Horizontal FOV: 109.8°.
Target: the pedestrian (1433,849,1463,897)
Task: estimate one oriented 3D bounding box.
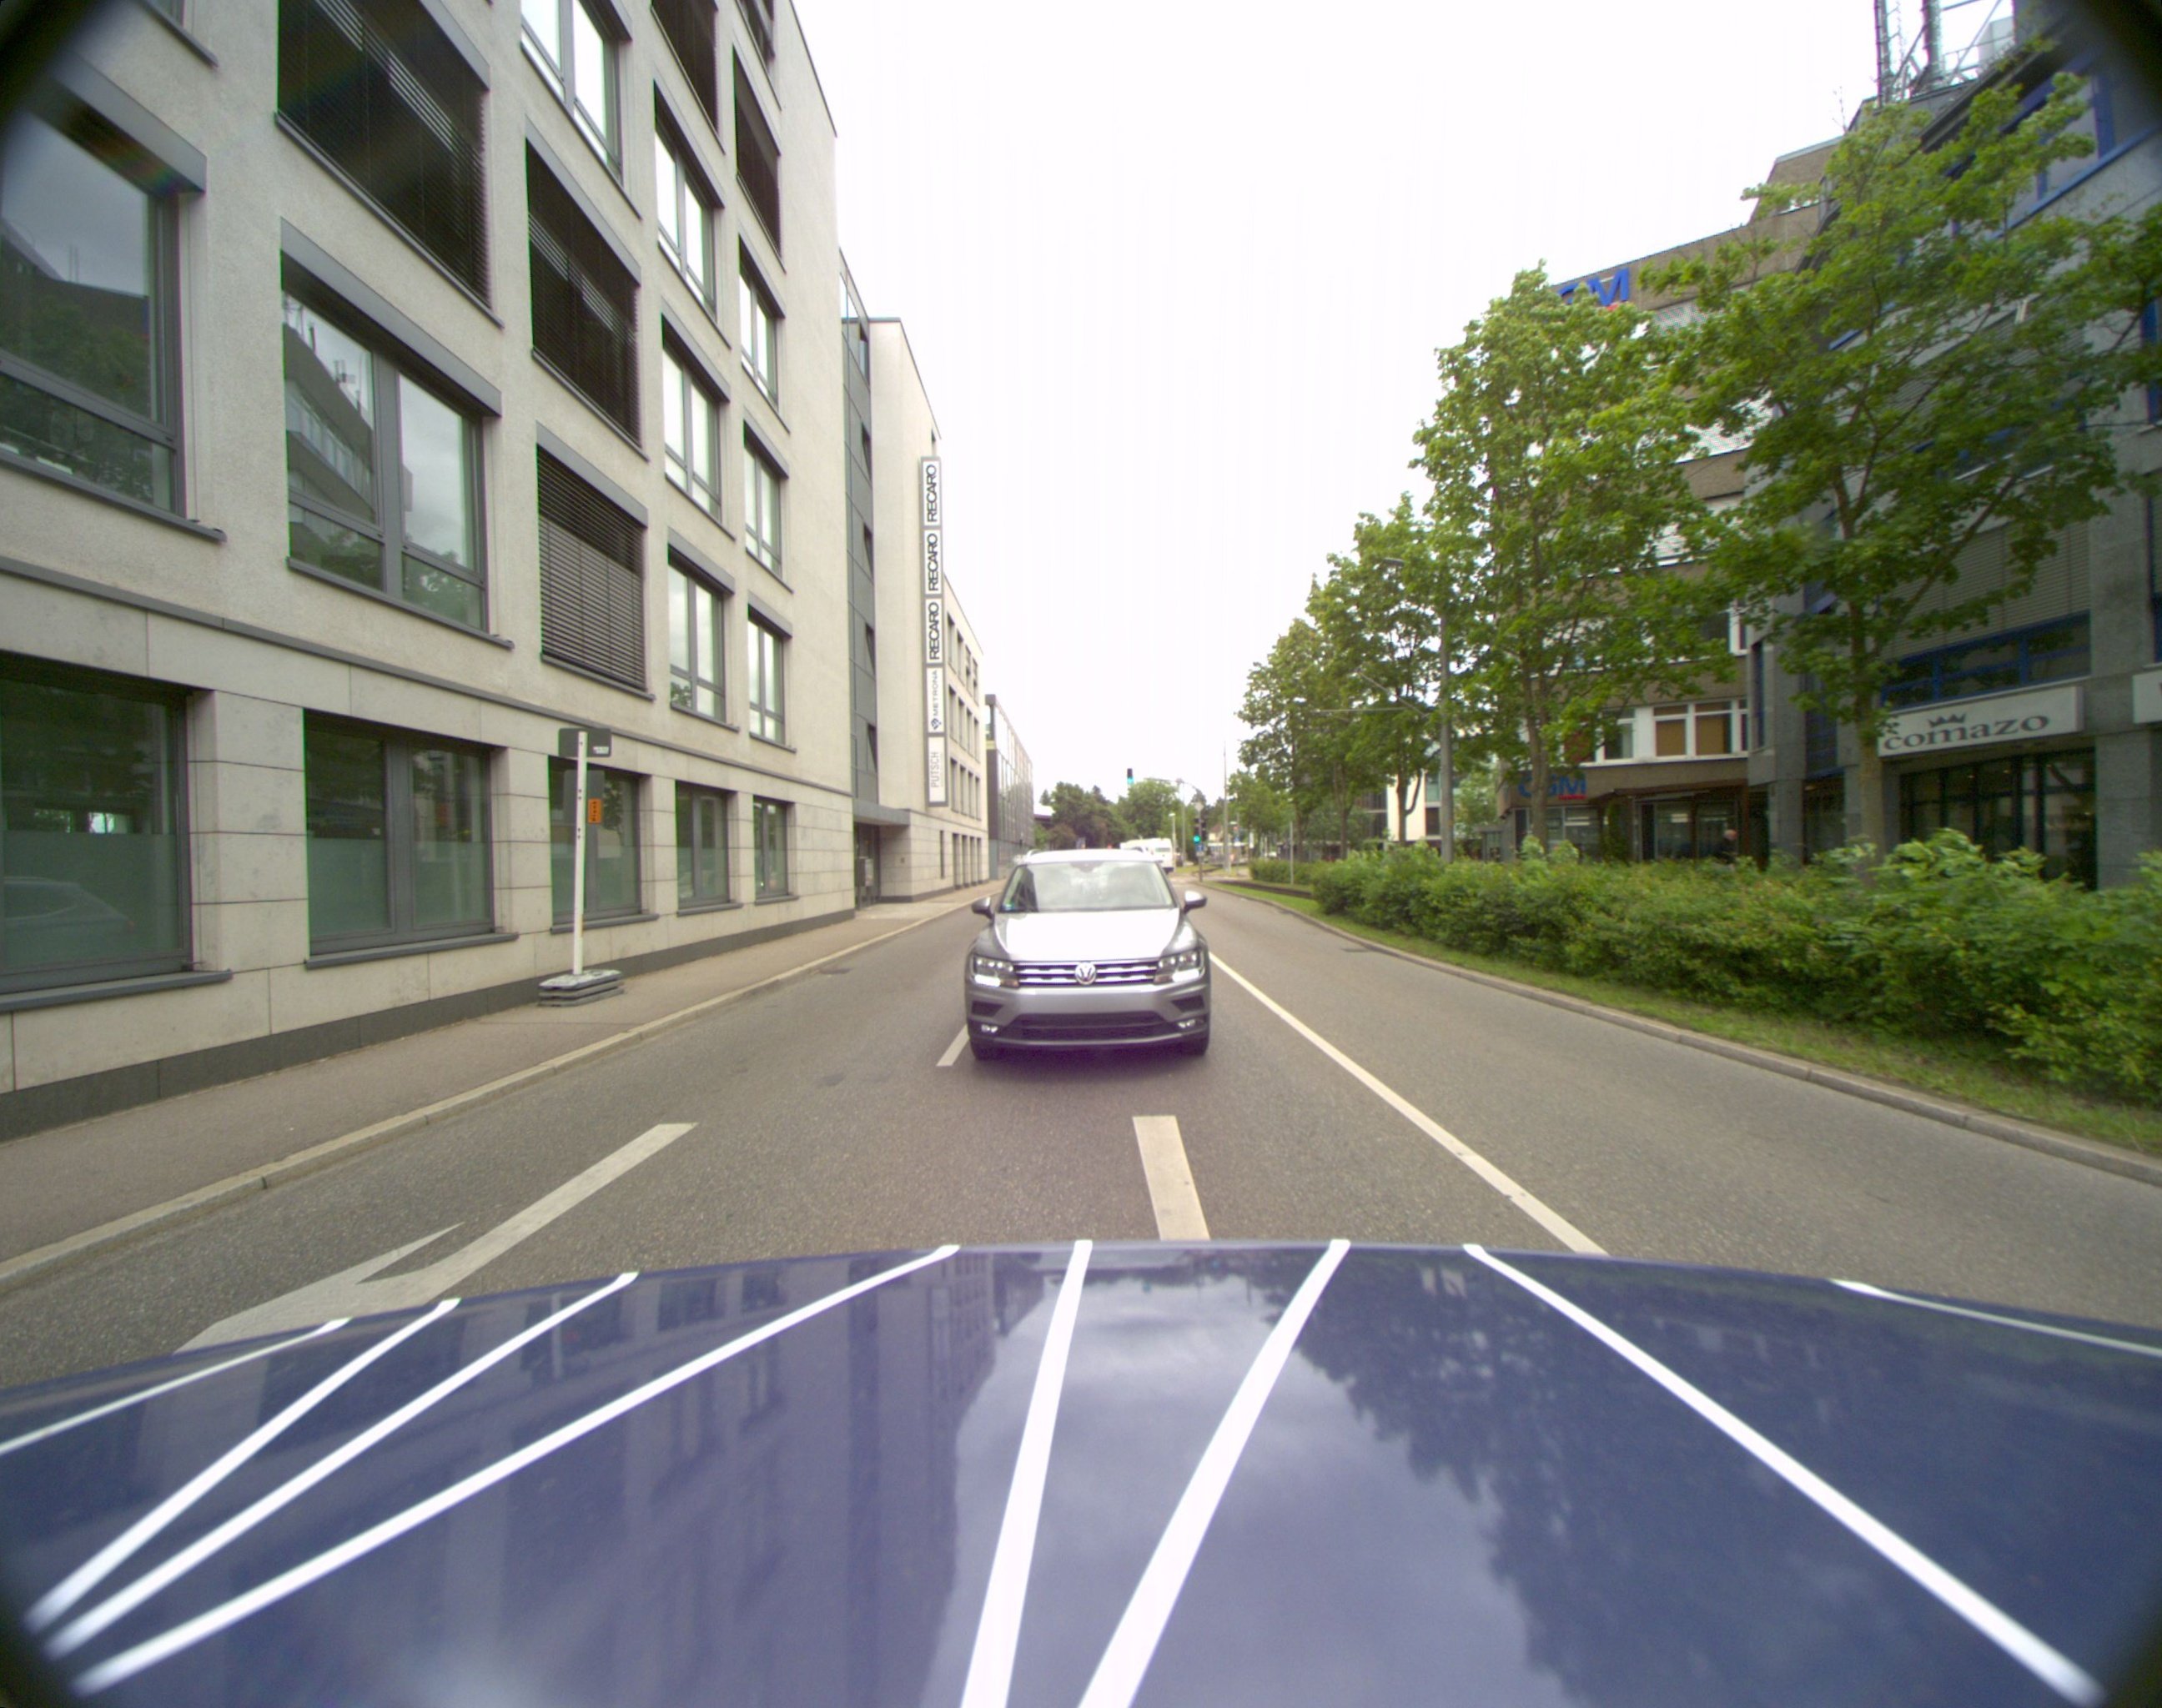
[{"bbox_3d":[14.906,0.750,30.851,0.816,1.912,0.731,-2,1,0],"label":"pedestrian"}]

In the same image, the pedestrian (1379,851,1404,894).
[{"bbox_3d":[13.207,0.765,32.302,0.680,1.795,0.731,-2,1,-4],"label":"pedestrian"}]

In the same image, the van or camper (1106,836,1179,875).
[{"bbox_3d":[4.566,0.114,57.196,2.118,2.718,6.136,-3,1,-32],"label":"van or camper"}]

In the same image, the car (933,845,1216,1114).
[{"bbox_3d":[-0.008,0.808,7.151,1.798,1.716,4.458,-1,0,1],"label":"car"}]

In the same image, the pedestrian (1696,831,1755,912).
[{"bbox_3d":[15.446,0.414,18.226,0.776,1.883,0.731,-2,1,-1],"label":"pedestrian"}]

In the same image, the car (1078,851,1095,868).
[{"bbox_3d":[0.711,0.674,96.183,1.998,2.002,4.000,-2,1,1],"label":"car"}]

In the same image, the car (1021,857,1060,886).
[{"bbox_3d":[-2.299,0.951,43.749,1.890,1.483,4.000,-4,0,1],"label":"car"}]

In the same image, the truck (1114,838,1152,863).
[{"bbox_3d":[8.124,-0.622,116.894,2.317,3.626,8.024,-1,1,31],"label":"truck"}]
